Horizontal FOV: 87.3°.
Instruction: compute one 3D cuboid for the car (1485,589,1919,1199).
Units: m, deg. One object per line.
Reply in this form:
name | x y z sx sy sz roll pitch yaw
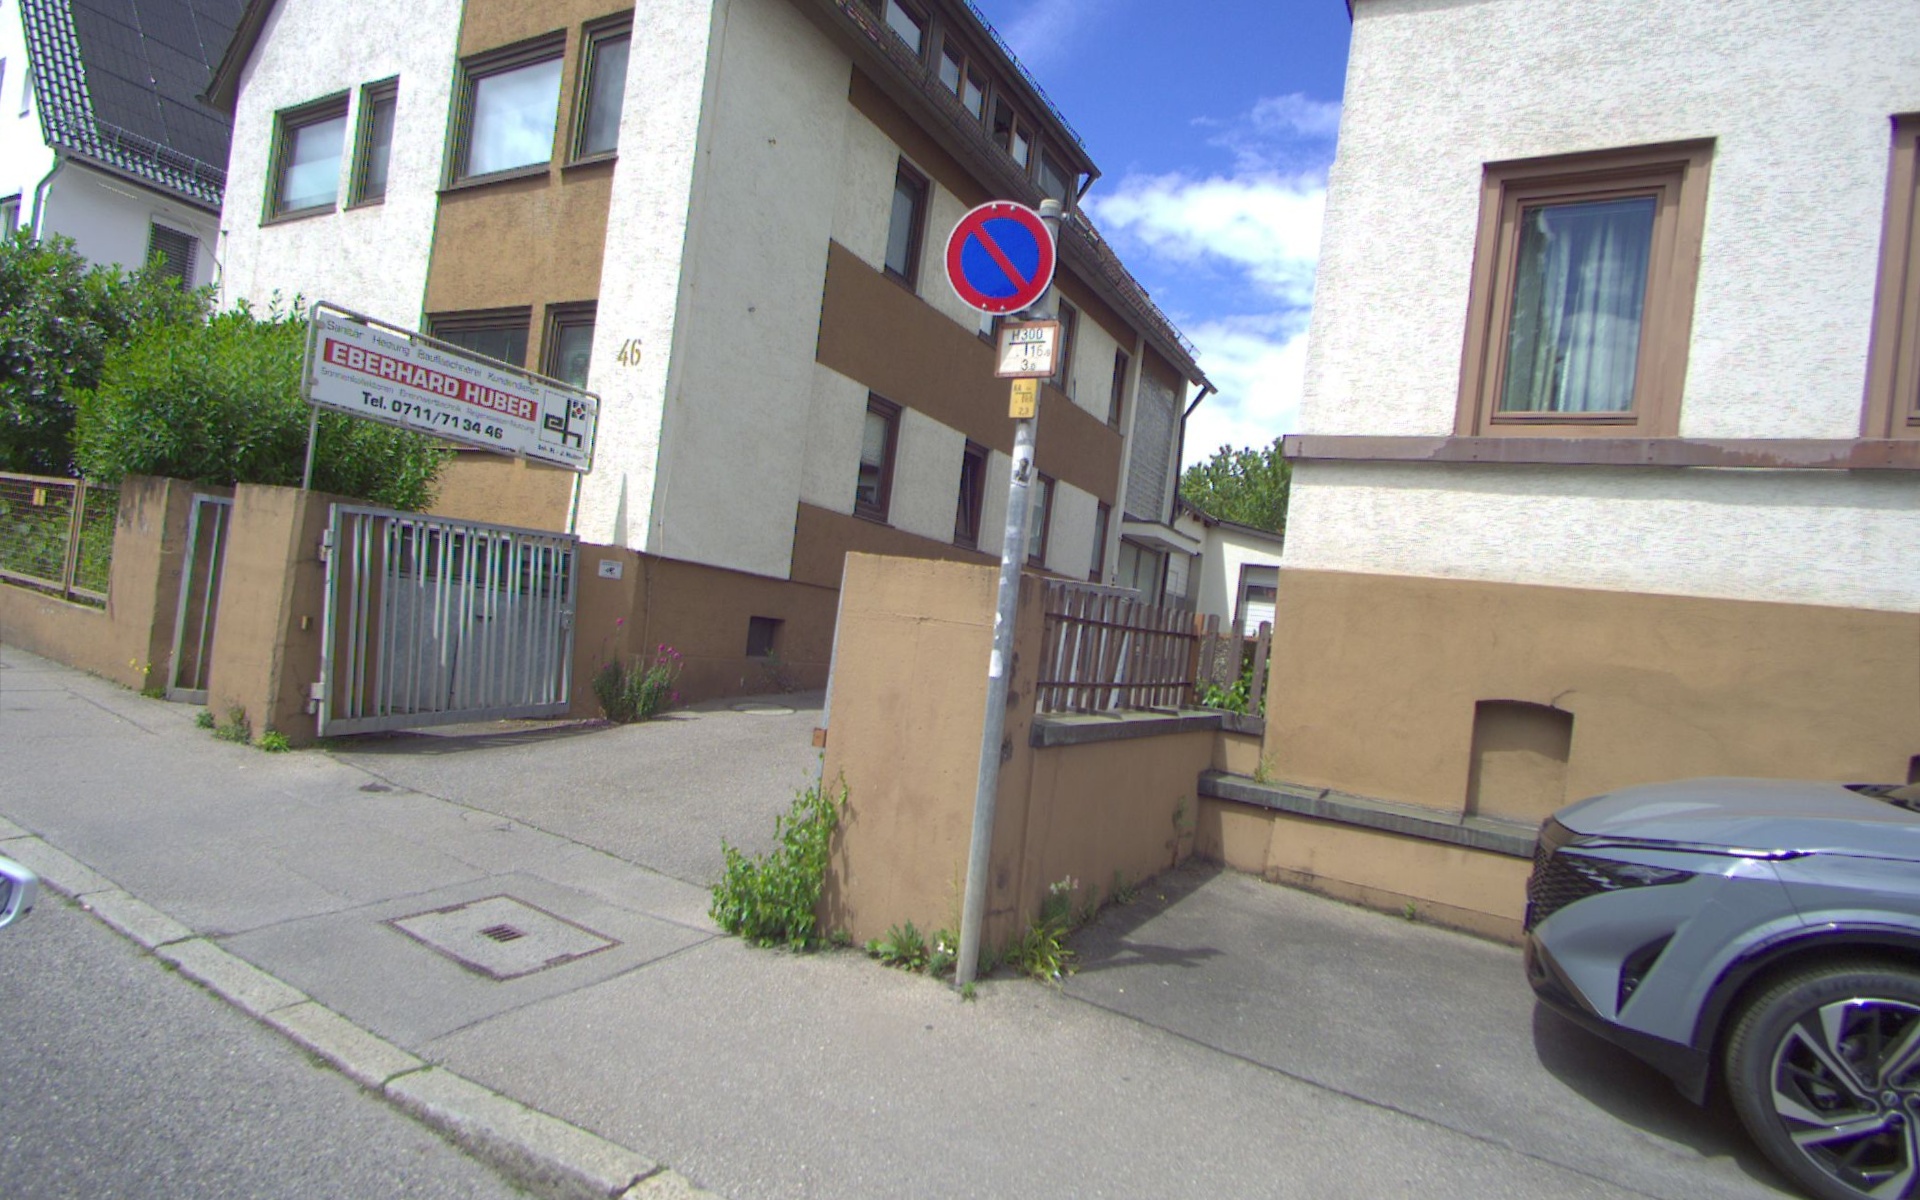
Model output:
car | 4.154 1.086 2.860 4.508 1.632 1.863 7 0 30
